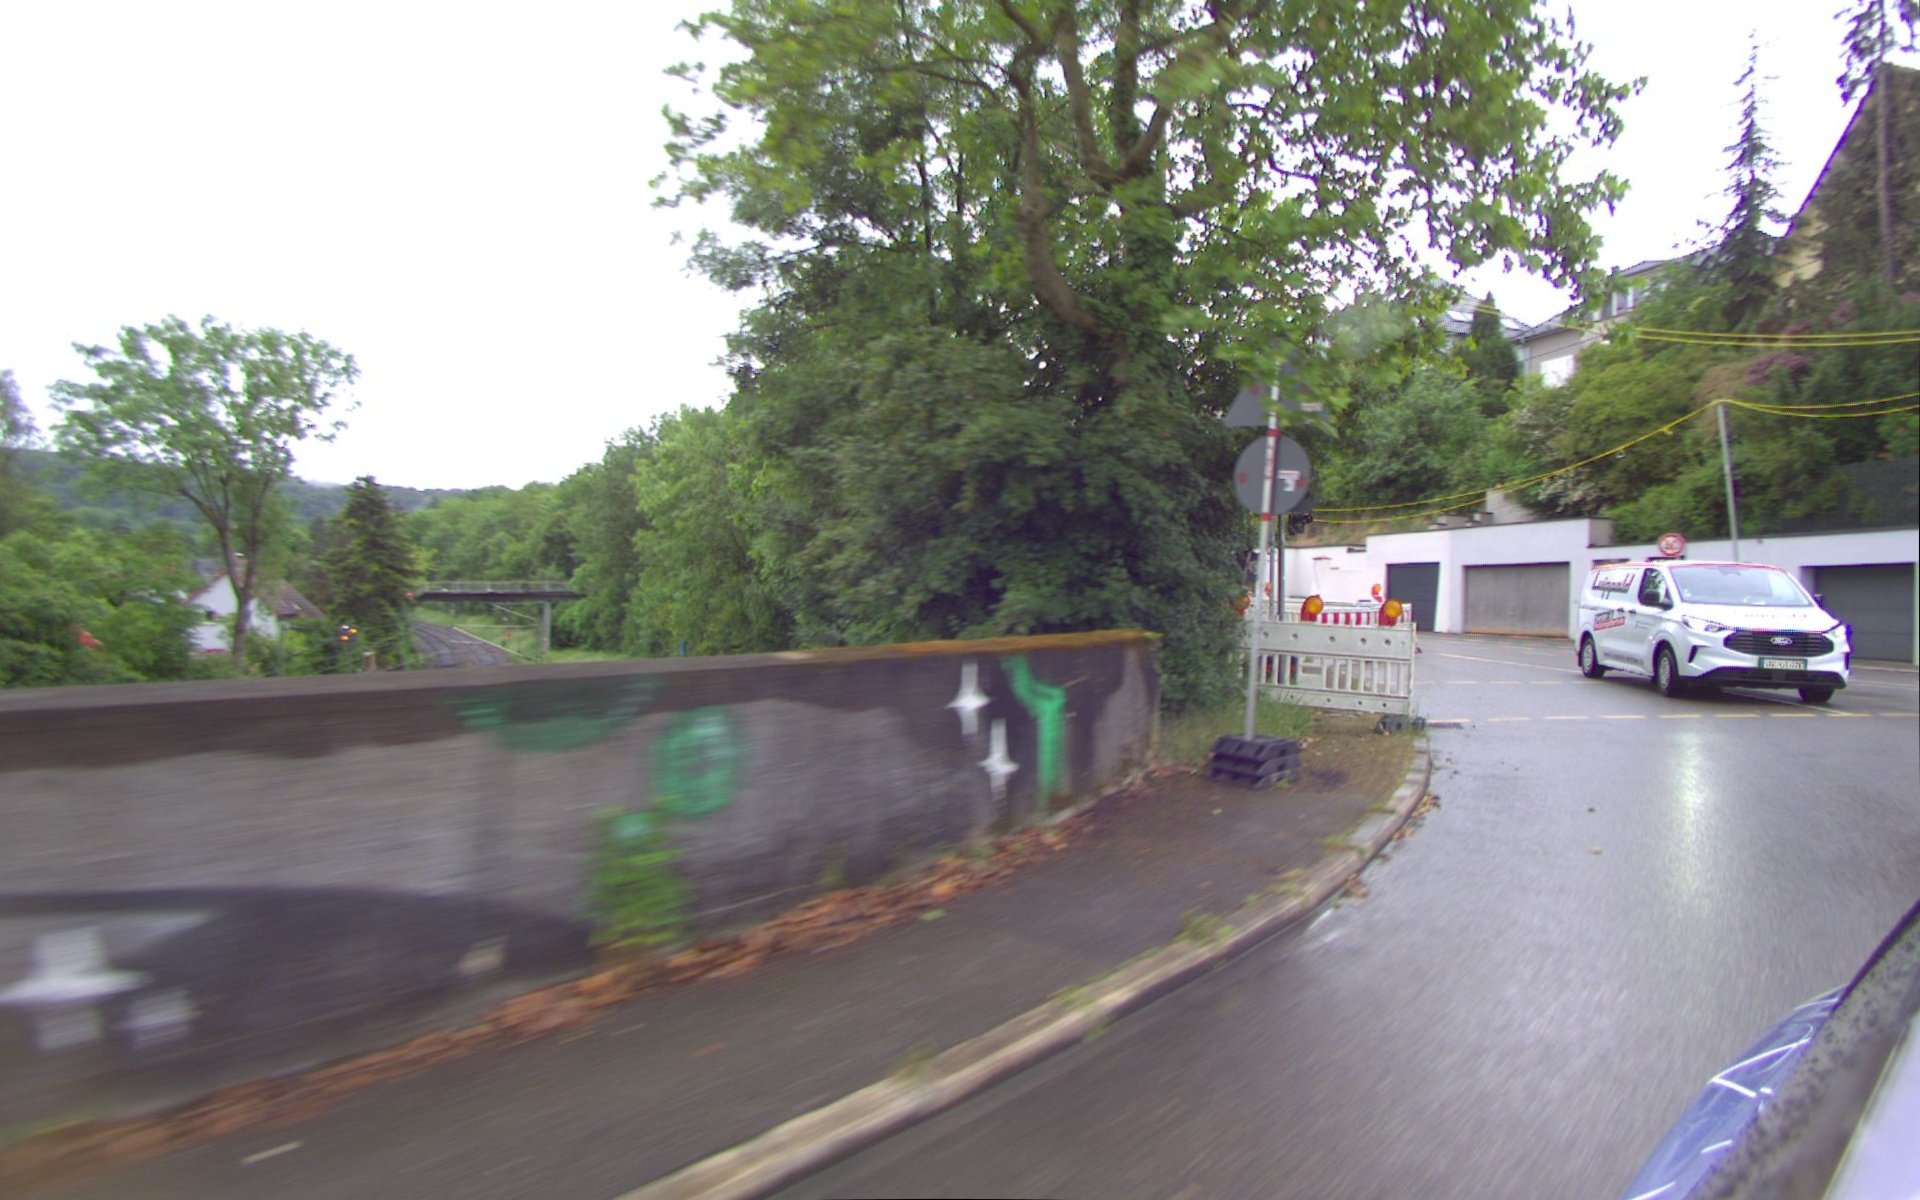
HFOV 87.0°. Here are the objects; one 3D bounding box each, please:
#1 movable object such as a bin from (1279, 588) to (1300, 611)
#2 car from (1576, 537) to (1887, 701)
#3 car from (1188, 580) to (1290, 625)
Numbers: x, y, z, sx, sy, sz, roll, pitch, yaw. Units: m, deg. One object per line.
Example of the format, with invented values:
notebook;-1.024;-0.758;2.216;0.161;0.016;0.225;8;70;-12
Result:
movable object such as a bin;14.235;-0.017;43.702;0.498;0.942;0.771;1;2;-17
car;11.291;0.217;15.341;1.972;2.039;4.924;2;0;15
car;10.687;0.068;39.043;1.958;1.605;4.008;-1;1;-16
